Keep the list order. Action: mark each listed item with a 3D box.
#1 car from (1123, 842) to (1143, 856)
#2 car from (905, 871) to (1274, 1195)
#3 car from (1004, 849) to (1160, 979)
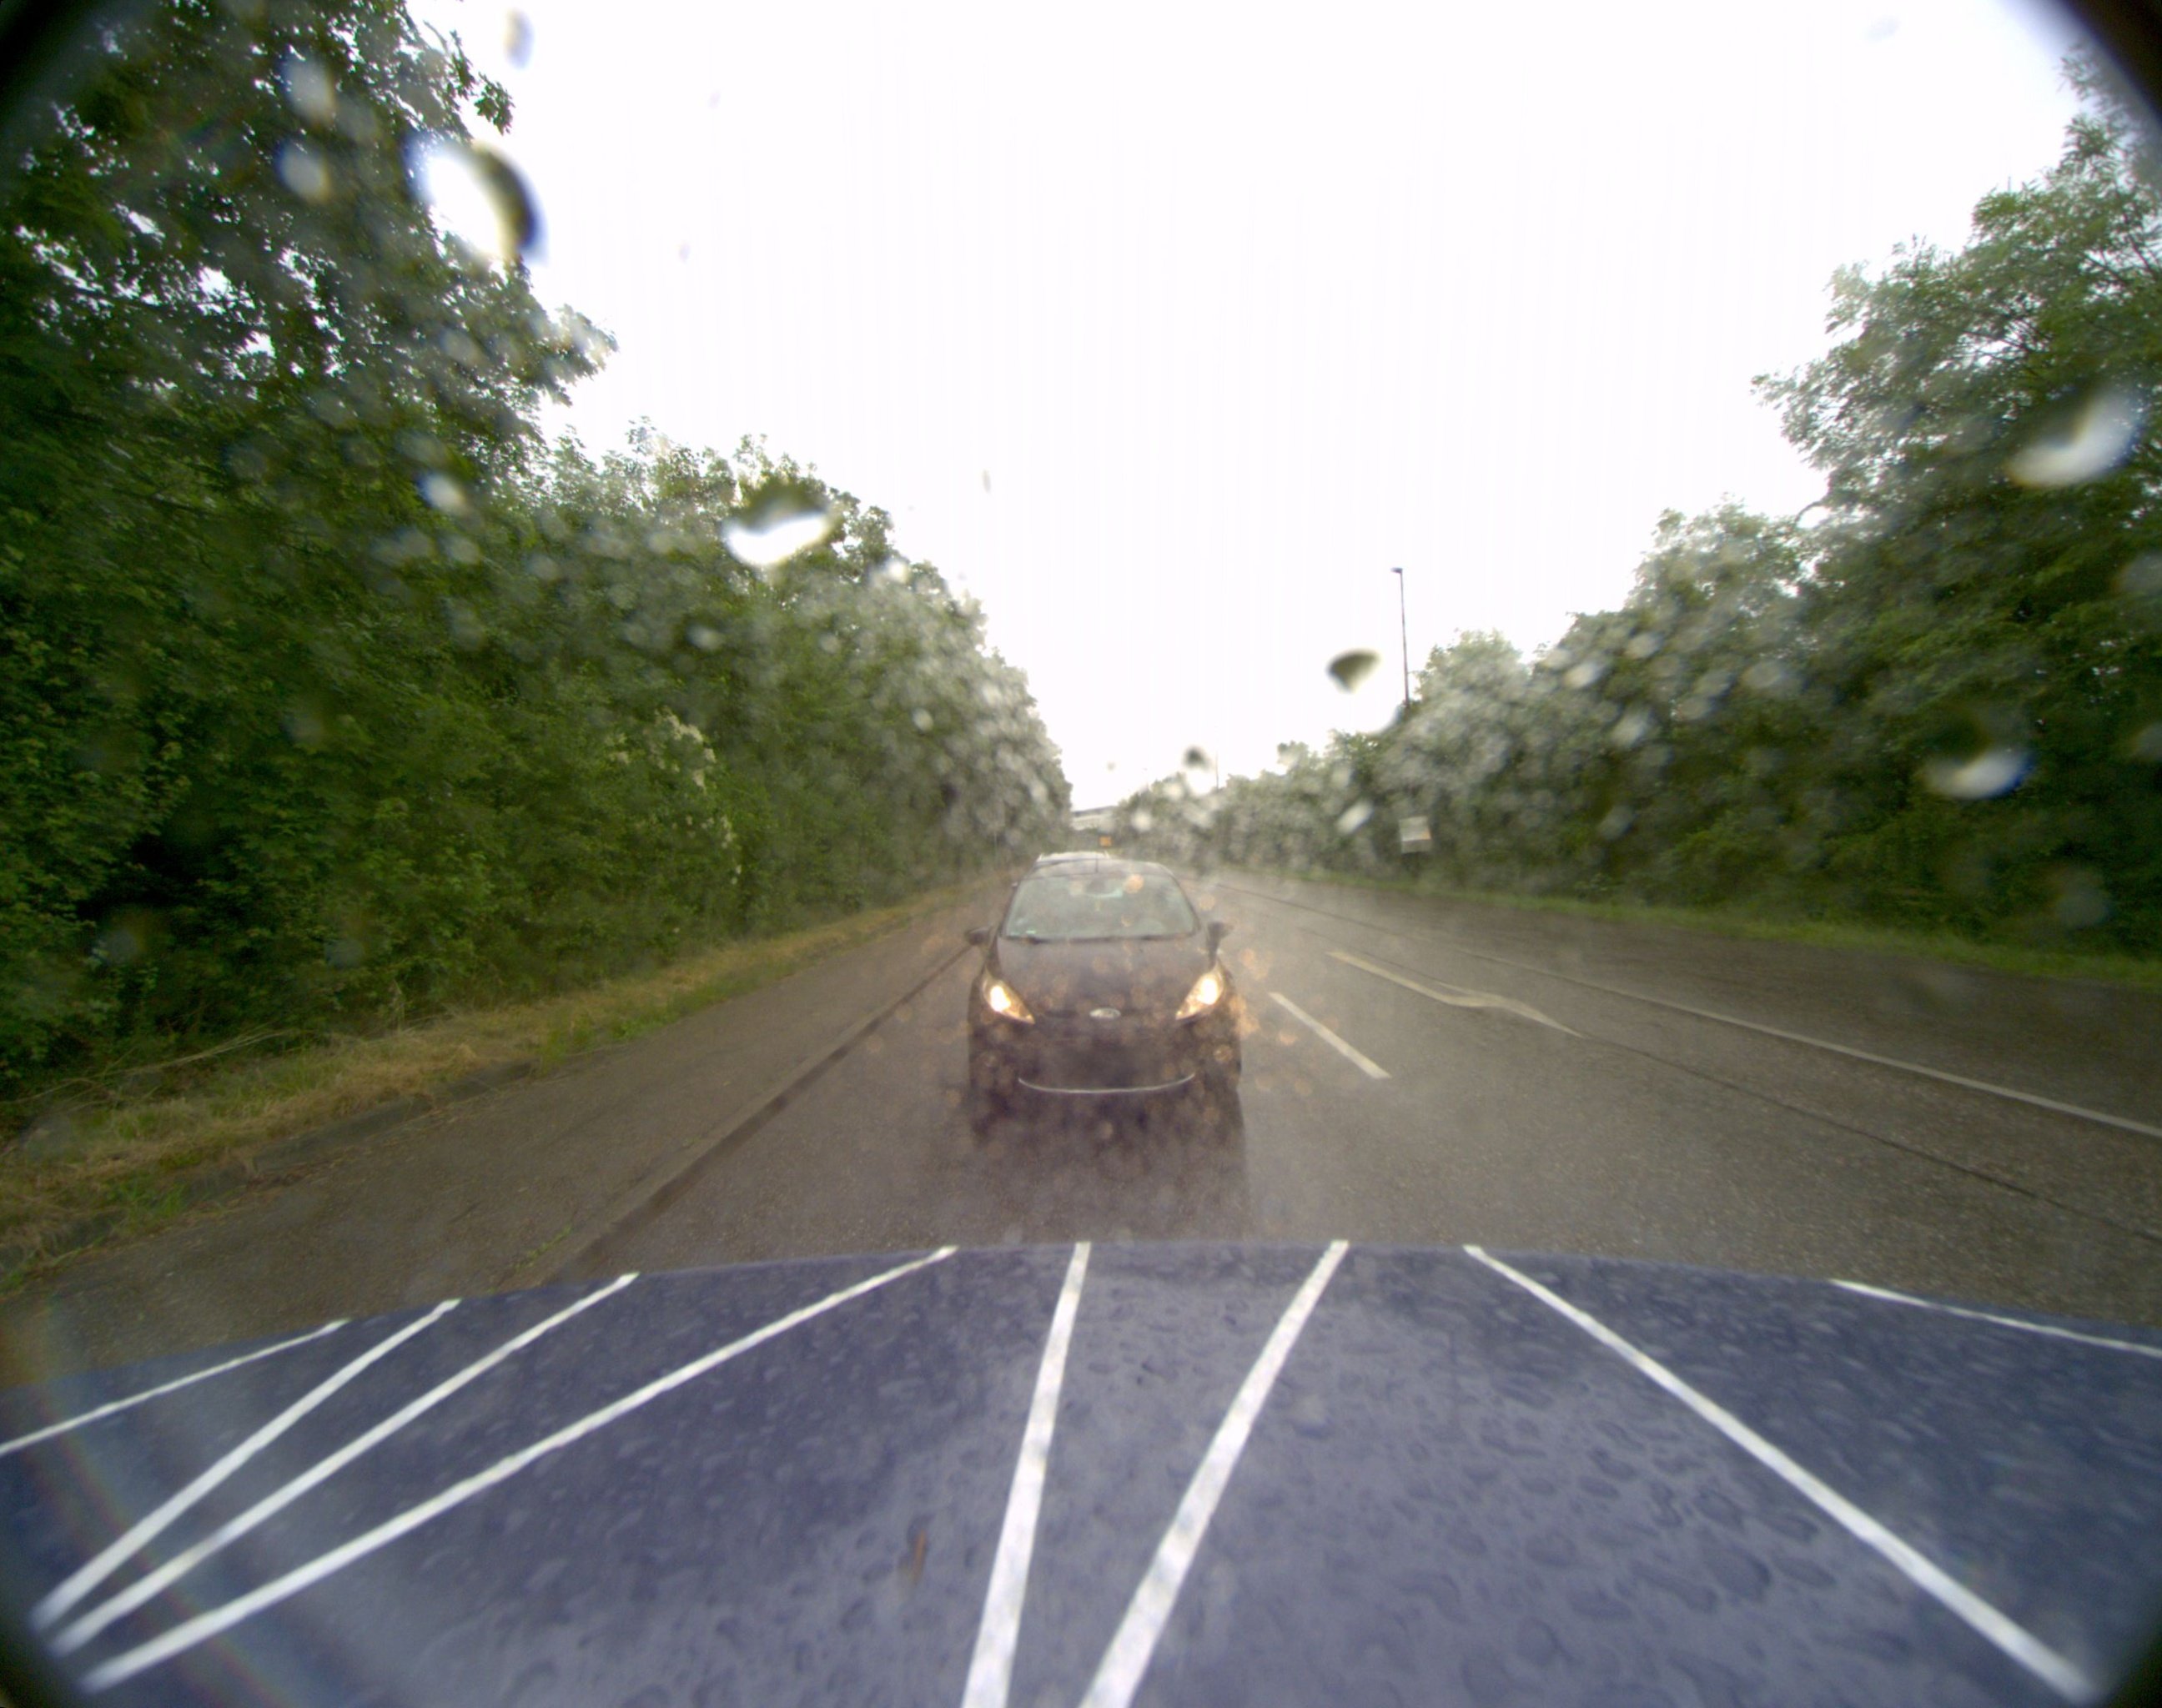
[{"bbox_3d":[5.933,-0.590,86.774,1.998,1.576,3.999,-2,1,1],"label":"car"},{"bbox_3d":[0.071,0.970,6.038,1.839,1.404,4.341,-2,1,1],"label":"car"},{"bbox_3d":[0.036,0.778,11.944,1.998,1.576,3.999,-2,1,1],"label":"car"}]
